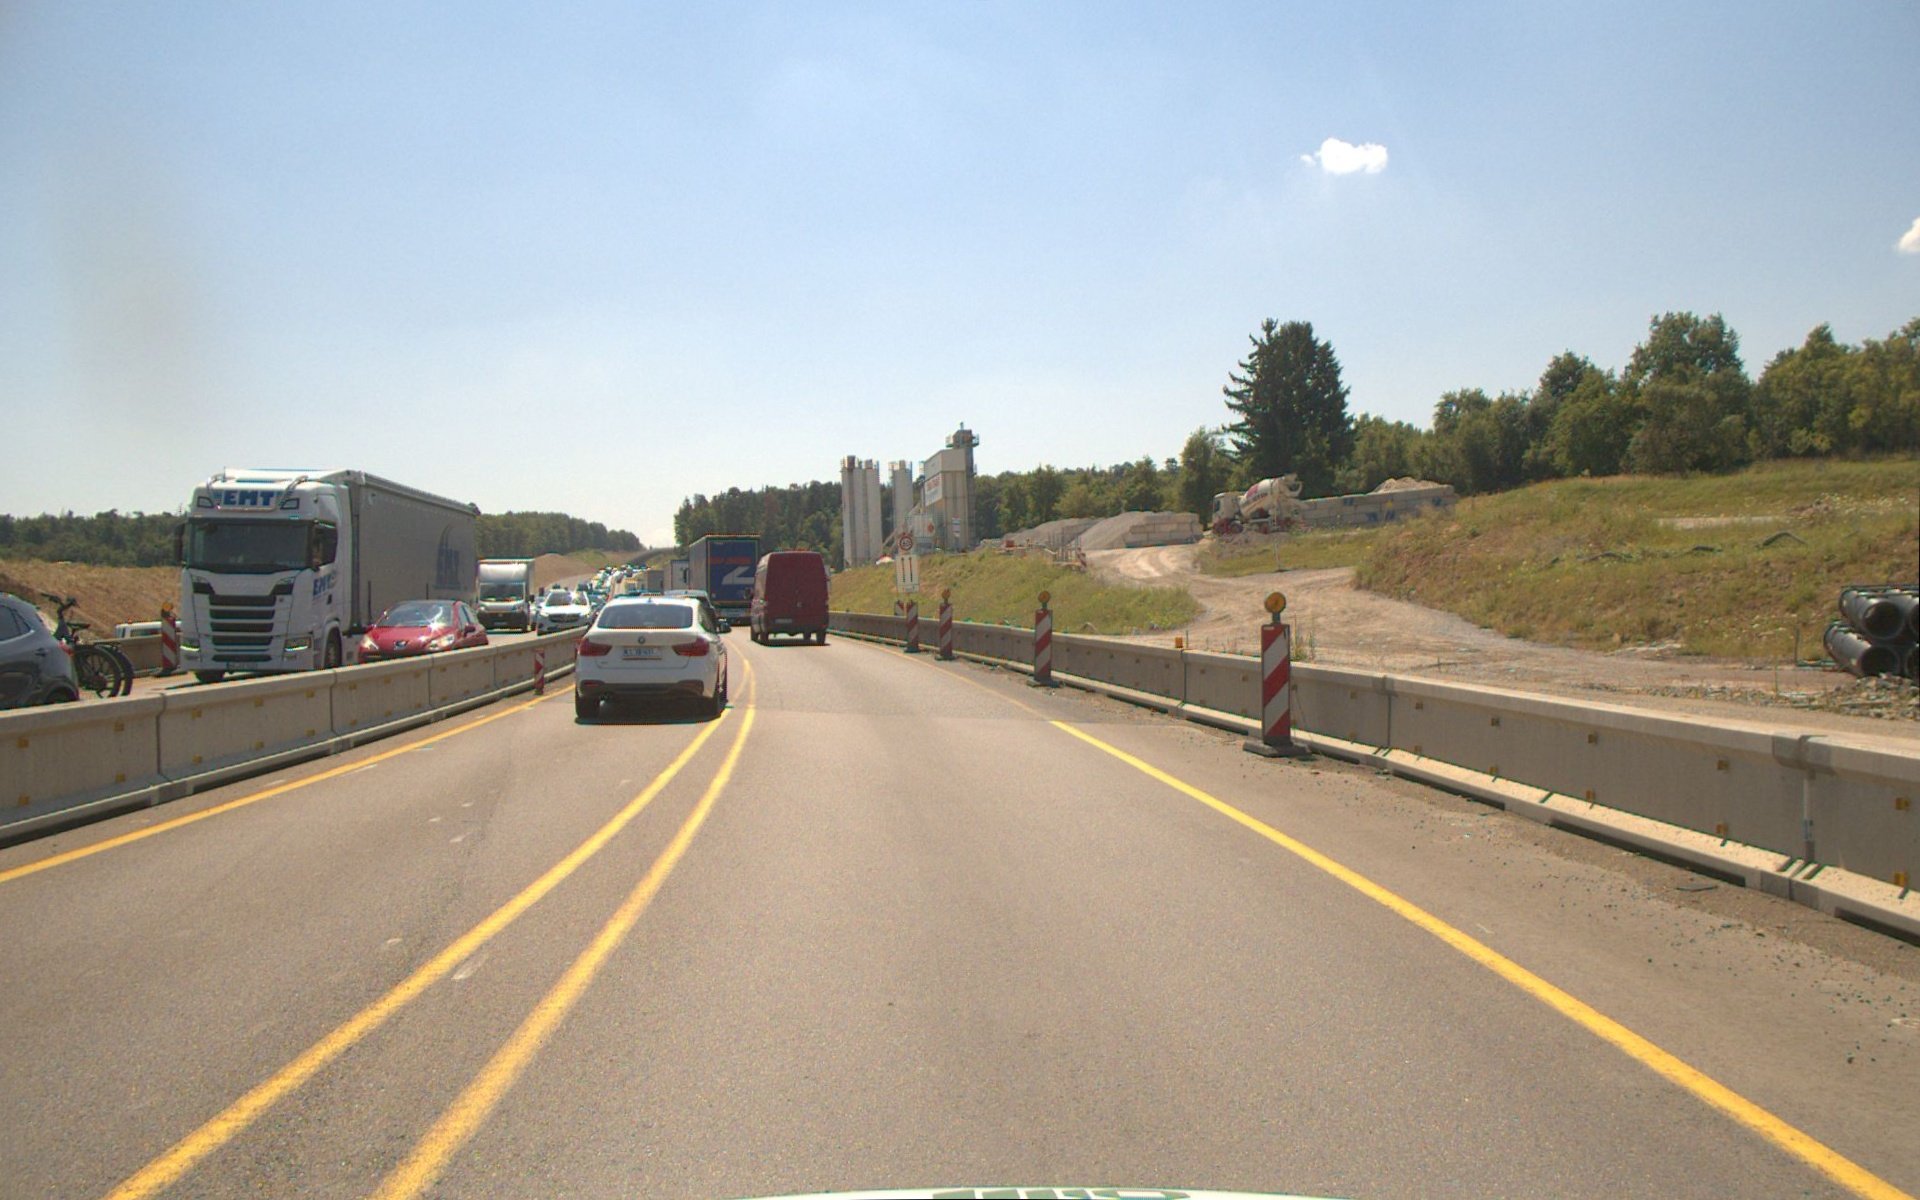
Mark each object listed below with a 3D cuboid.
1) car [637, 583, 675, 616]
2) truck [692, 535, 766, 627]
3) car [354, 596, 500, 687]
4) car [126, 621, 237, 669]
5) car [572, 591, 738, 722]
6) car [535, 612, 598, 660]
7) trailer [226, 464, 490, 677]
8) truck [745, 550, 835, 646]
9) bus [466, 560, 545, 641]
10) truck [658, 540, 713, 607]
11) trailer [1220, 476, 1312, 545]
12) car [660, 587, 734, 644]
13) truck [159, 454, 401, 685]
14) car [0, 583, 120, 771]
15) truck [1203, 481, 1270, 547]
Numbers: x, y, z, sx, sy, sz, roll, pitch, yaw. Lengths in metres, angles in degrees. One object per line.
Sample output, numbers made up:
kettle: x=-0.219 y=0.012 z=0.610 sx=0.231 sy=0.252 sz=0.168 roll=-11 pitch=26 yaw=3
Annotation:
car: x=-15.857 y=-0.044 z=86.363 sx=1.768 sy=1.607 sz=3.992 roll=-2 pitch=0 yaw=-9
truck: x=-11.425 y=-0.906 z=81.136 sx=2.962 sy=4.225 sz=8.248 roll=-2 pitch=0 yaw=-12
car: x=-9.700 y=0.704 z=30.361 sx=1.636 sy=1.501 sz=3.966 roll=-2 pitch=0 yaw=-5
car: x=-26.613 y=1.516 z=56.555 sx=3.168 sy=1.480 sz=1.527 roll=-2 pitch=1 yaw=-38
car: x=-4.017 y=0.662 z=22.529 sx=1.760 sy=1.561 sz=5.068 roll=0 pitch=0 yaw=-5
car: x=-13.653 y=1.209 z=57.597 sx=1.763 sy=1.501 sz=4.766 roll=-2 pitch=0 yaw=-9
trailer: x=-14.023 y=-0.639 z=40.078 sx=2.707 sy=4.186 sz=13.958 roll=-2 pitch=0 yaw=-6
truck: x=-5.271 y=-0.074 z=50.584 sx=2.074 sy=2.679 sz=6.466 roll=-2 pitch=0 yaw=-11
bus: x=-19.098 y=-0.003 z=69.872 sx=2.306 sy=3.180 sz=7.214 roll=-2 pitch=0 yaw=-9
truck: x=-20.524 y=-1.936 z=124.174 sx=3.614 sy=4.773 sz=9.736 roll=-2 pitch=0 yaw=-7
trailer: x=19.936 y=-5.796 z=108.137 sx=2.717 sy=4.186 sz=6.704 roll=-2 pitch=0 yaw=-21
car: x=-7.742 y=0.415 z=48.947 sx=1.760 sy=1.561 sz=3.928 roll=-2 pitch=0 yaw=-4
truck: x=-13.323 y=-0.578 z=32.906 sx=2.648 sy=4.133 sz=5.498 roll=-2 pitch=0 yaw=-3
car: x=-9.172 y=0.695 z=14.313 sx=1.627 sy=1.633 sz=4.395 roll=-2 pitch=0 yaw=-2
truck: x=18.647 y=-5.776 z=111.562 sx=2.706 sy=4.167 sz=4.074 roll=-2 pitch=0 yaw=-21
